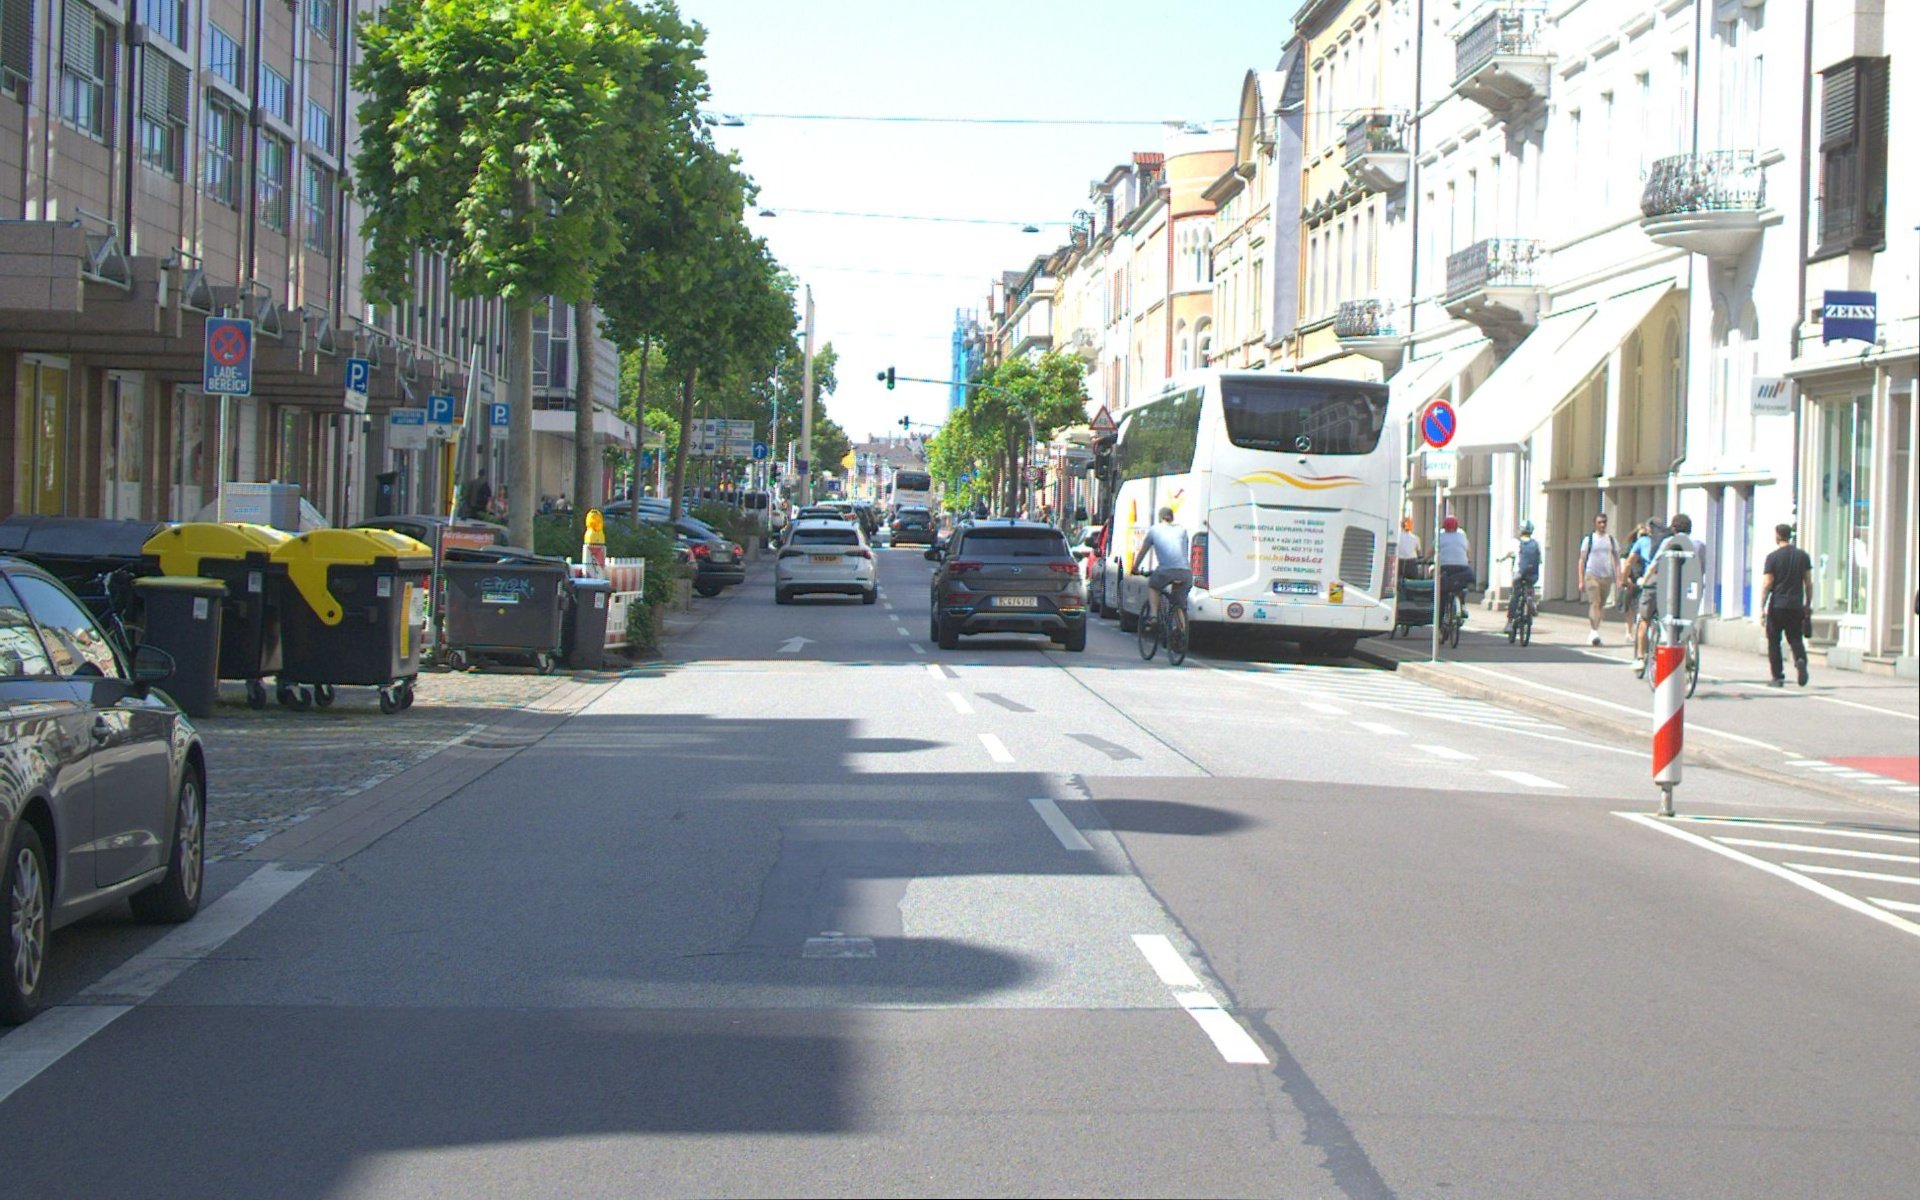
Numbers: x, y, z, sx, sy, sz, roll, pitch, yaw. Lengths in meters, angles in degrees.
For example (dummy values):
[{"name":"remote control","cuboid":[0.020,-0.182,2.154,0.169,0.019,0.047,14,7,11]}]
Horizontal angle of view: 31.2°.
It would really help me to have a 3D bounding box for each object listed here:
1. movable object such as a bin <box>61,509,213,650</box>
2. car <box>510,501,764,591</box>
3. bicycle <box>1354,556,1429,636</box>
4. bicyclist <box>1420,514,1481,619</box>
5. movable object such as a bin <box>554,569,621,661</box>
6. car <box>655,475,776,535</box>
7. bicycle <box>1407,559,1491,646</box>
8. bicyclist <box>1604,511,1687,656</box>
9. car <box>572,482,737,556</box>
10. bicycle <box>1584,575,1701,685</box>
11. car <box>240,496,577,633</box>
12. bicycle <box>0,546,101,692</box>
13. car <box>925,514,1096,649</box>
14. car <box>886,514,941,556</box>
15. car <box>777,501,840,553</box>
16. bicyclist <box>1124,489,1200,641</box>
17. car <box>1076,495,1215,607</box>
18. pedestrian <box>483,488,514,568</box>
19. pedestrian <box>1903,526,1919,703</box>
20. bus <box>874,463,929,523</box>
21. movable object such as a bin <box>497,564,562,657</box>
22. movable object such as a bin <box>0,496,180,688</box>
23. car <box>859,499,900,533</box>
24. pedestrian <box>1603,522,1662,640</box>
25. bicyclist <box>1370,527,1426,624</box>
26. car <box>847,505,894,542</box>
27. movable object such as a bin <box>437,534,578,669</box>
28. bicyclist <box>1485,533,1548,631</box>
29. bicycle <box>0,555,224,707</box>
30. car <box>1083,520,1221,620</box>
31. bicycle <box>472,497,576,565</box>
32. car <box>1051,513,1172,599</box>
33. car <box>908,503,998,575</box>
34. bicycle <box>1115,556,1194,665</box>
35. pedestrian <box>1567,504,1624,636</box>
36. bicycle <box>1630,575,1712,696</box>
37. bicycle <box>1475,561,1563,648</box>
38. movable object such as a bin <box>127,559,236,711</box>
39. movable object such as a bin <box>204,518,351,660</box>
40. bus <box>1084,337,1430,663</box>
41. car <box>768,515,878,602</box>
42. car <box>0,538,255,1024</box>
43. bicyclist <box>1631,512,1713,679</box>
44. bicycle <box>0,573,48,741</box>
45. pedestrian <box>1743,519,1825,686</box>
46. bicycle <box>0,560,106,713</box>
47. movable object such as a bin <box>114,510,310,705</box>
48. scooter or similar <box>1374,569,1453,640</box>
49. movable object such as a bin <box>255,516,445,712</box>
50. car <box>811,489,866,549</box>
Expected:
[{"name":"movable object such as a bin","cuboid":[-8.178,-0.213,34.218,1.208,1.295,1.127,3,2,-2]},{"name":"car","cuboid":[-6.193,-1.039,65.604,4.793,1.417,1.879,5,3,38]},{"name":"bicycle","cuboid":[6.302,-0.070,50.330,0.620,1.095,2.353,2,1,-3]},{"name":"bicyclist","cuboid":[6.530,-0.453,45.797,0.620,1.366,0.781,2,1,-3]},{"name":"movable object such as a bin","cuboid":[-3.903,0.149,35.990,0.553,0.936,0.500,-1,2,-27]},{"name":"car","cuboid":[-9.993,-3.887,140.433,4.720,1.996,1.937,6,1,38]},{"name":"bicycle","cuboid":[6.513,0.019,45.868,0.620,1.095,2.353,2,1,-3]},{"name":"bicyclist","cuboid":[7.355,-0.183,36.925,0.620,1.524,0.869,2,1,-3]},{"name":"car","cuboid":[-8.298,-2.199,93.285,3.993,1.563,1.698,7,2,23]},{"name":"bicycle","cuboid":[7.333,0.302,37.050,0.620,1.095,2.353,2,1,-3]},{"name":"car","cuboid":[-6.933,-0.465,43.027,4.054,1.489,1.931,4,3,39]},{"name":"bicycle","cuboid":[-7.364,0.140,25.536,1.843,1.069,0.557,0,0,-5]},{"name":"car","cuboid":[0.574,-0.263,42.277,1.833,1.522,4.001,2,1,-2]},{"name":"car","cuboid":[-1.710,-2.378,124.508,1.863,1.436,4.001,1,2,-2]},{"name":"car","cuboid":[-4.392,-2.134,99.990,1.743,1.436,4.001,1,2,-2]},{"name":"bicyclist","cuboid":[2.308,-0.408,39.425,0.694,1.667,0.916,4,3,-1]},{"name":"car","cuboid":[3.371,-0.926,63.226,1.827,1.857,4.355,3,2,-5]},{"name":"pedestrian","cuboid":[-9.673,-1.504,72.097,0.565,1.651,0.637,2,1,-10]},{"name":"pedestrian","cuboid":[9.490,0.139,32.980,0.694,1.680,0.835,1,1,7]},{"name":"bus","cuboid":[-3.674,-6.705,215.316,2.769,3.592,8.976,1,2,-5]},{"name":"movable object such as a bin","cuboid":[-4.473,0.105,35.729,0.499,0.936,0.555,1,2,15]},{"name":"movable object such as a bin","cuboid":[-7.177,-0.086,27.993,1.209,1.445,1.364,3,2,4]},{"name":"car","cuboid":[-3.812,-3.953,162.182,1.863,1.436,4.000,0,0,-2]},{"name":"pedestrian","cuboid":[9.360,-0.260,47.864,0.645,1.612,0.822,1,0,1]},{"name":"bicyclist","cuboid":[6.347,-0.359,49.872,0.620,1.366,0.781,2,1,-3]},{"name":"car","cuboid":[-3.735,-3.161,142.660,1.863,1.436,4.000,0,0,-2]},{"name":"movable object such as a bin","cuboid":[-4.522,0.005,34.440,1.277,1.295,0.853,2,1,-2]},{"name":"bicyclist","cuboid":[7.528,-0.253,46.508,0.620,1.292,0.867,2,1,-3]},{"name":"bicycle","cuboid":[-6.842,0.232,27.034,1.967,1.116,0.509,2,0,-5]},{"name":"car","cuboid":[3.163,-0.541,57.689,1.859,1.464,5.226,3,2,-1]},{"name":"bicycle","cuboid":[-9.128,-1.448,71.945,2.064,1.284,0.368,4,1,-9]},{"name":"car","cuboid":[2.985,-0.906,68.681,1.812,1.461,4.581,3,3,-4]},{"name":"car","cuboid":[-0.182,-1.319,75.407,1.833,1.522,4.000,0,0,-2]},{"name":"bicycle","cuboid":[2.227,0.102,39.549,0.664,1.116,2.244,3,2,-2]},{"name":"pedestrian","cuboid":[8.702,-0.403,47.084,0.573,1.772,1.020,1,0,1]},{"name":"bicycle","cuboid":[7.063,0.337,34.203,0.594,1.116,1.801,2,2,6]},{"name":"bicycle","cuboid":[7.528,0.046,46.388,0.620,1.095,2.353,2,1,-3]},{"name":"movable object such as a bin","cuboid":[-5.946,0.261,26.274,0.722,1.094,0.657,3,2,-9]},{"name":"movable object such as a bin","cuboid":[-6.783,-0.116,34.212,1.208,1.295,1.080,3,3,-2]},{"name":"bus","cuboid":[3.777,-1.365,47.293,2.881,3.729,12.428,3,1,-3]},{"name":"car","cuboid":[-2.430,-0.766,61.531,1.863,1.436,4.001,2,2,-2]},{"name":"car","cuboid":[-3.769,0.495,11.565,1.936,1.350,4.250,1,2,0]},{"name":"bicyclist","cuboid":[7.046,-0.051,34.050,0.694,1.620,0.835,1,1,7]},{"name":"bicycle","cuboid":[-7.403,0.328,23.390,2.235,1.116,0.557,3,0,-13]},{"name":"pedestrian","cuboid":[8.622,0.023,35.988,0.620,1.714,0.835,1,0,1]},{"name":"bicycle","cuboid":[-7.628,0.239,26.361,1.974,1.116,0.509,3,0,-5]},{"name":"movable object such as a bin","cuboid":[-6.026,0.040,27.787,1.124,1.445,1.438,3,2,4]},{"name":"scooter or similar","cuboid":[6.394,0.057,48.522,0.865,0.953,1.213,2,1,-4]},{"name":"movable object such as a bin","cuboid":[-4.901,0.092,27.708,1.124,1.445,1.438,3,2,4]},{"name":"car","cuboid":[-4.372,-2.882,123.045,1.863,2.023,4.000,2,0,-2]}]
